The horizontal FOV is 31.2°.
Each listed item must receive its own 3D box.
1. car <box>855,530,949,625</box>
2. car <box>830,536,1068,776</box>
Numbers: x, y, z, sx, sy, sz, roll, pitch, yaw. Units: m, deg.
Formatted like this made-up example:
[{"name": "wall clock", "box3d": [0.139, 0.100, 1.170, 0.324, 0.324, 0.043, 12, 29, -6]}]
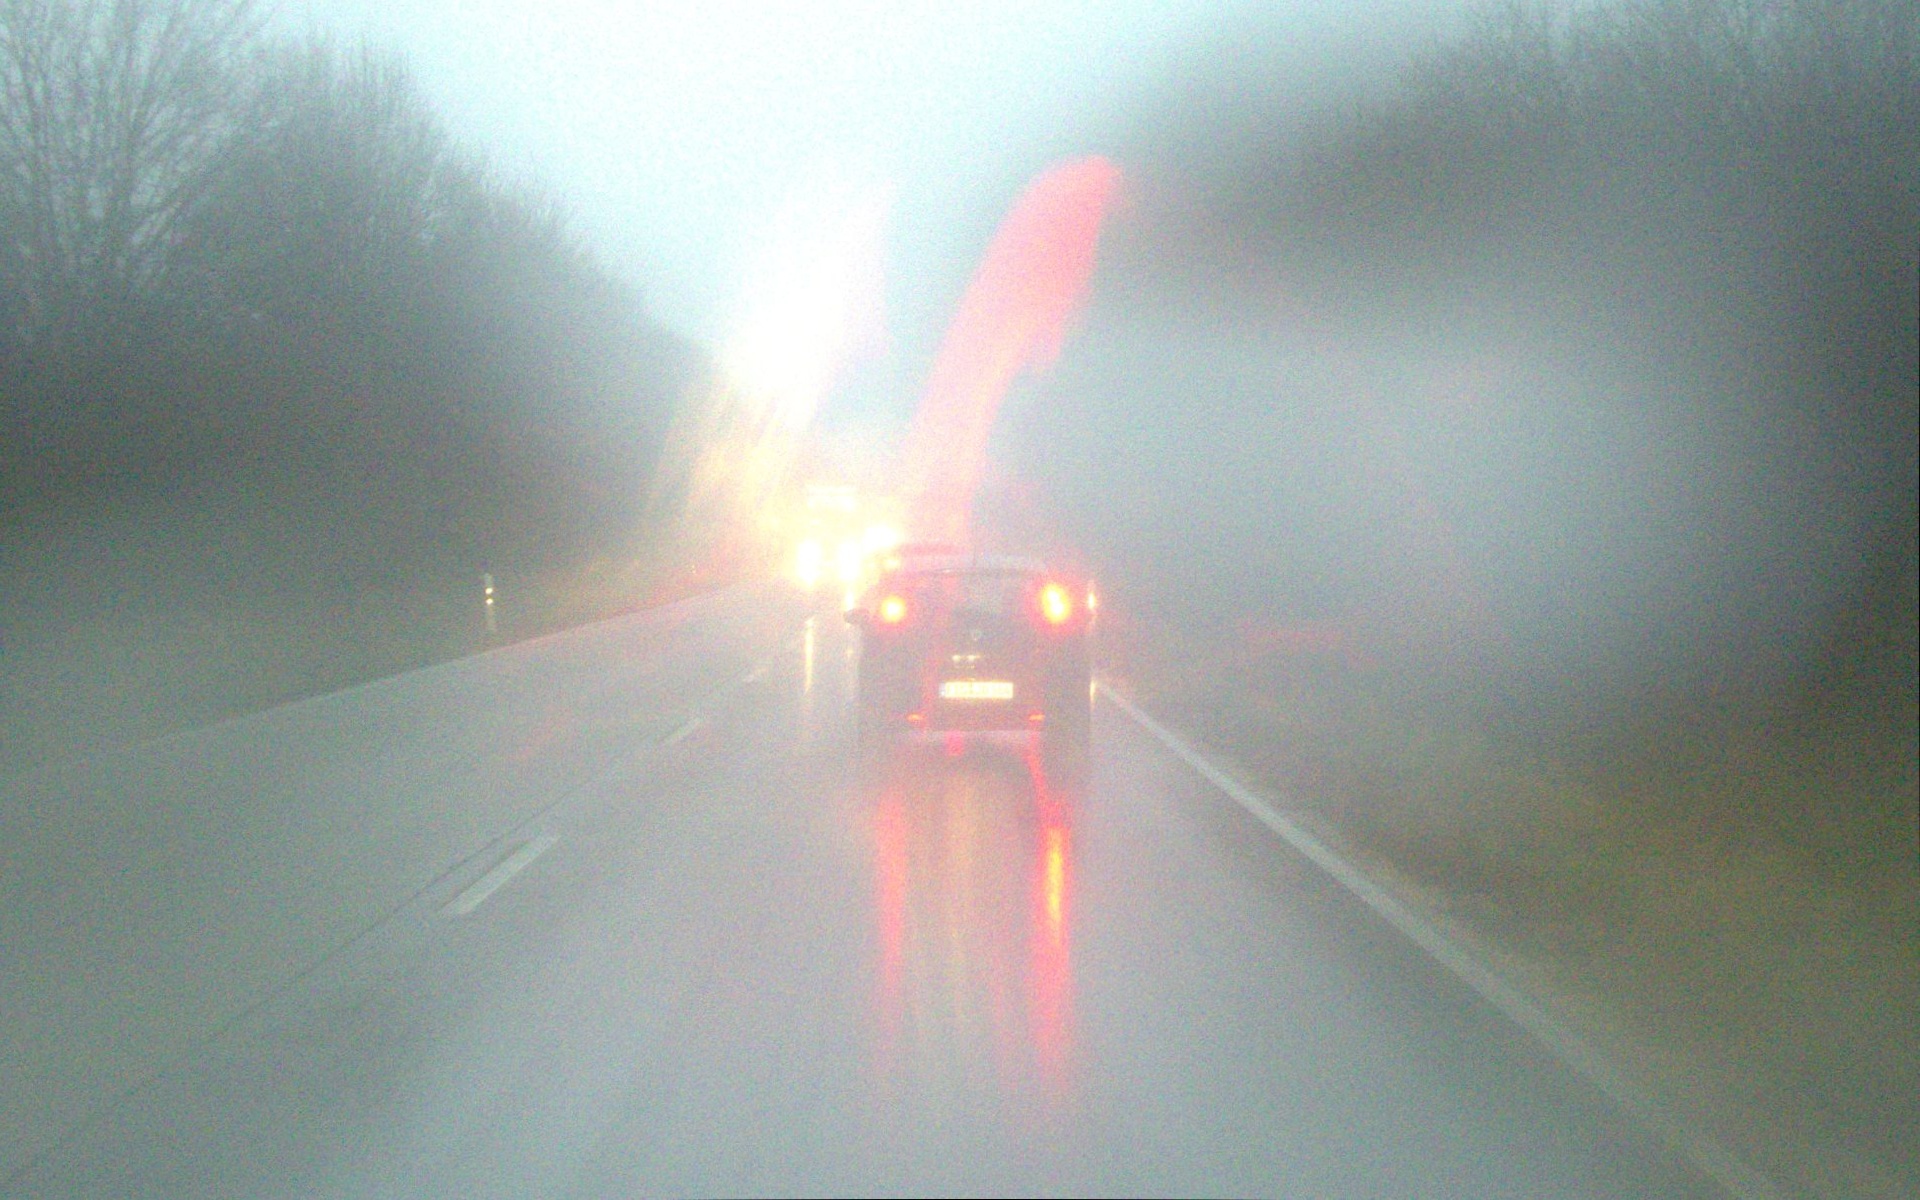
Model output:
[{"name": "car", "box3d": [-1.119, -0.456, 66.377, 1.733, 1.773, 4.000, 0, 1, -1]}, {"name": "car", "box3d": [-0.093, 0.365, 25.830, 1.648, 1.666, 3.514, 0, 1, -1]}]
